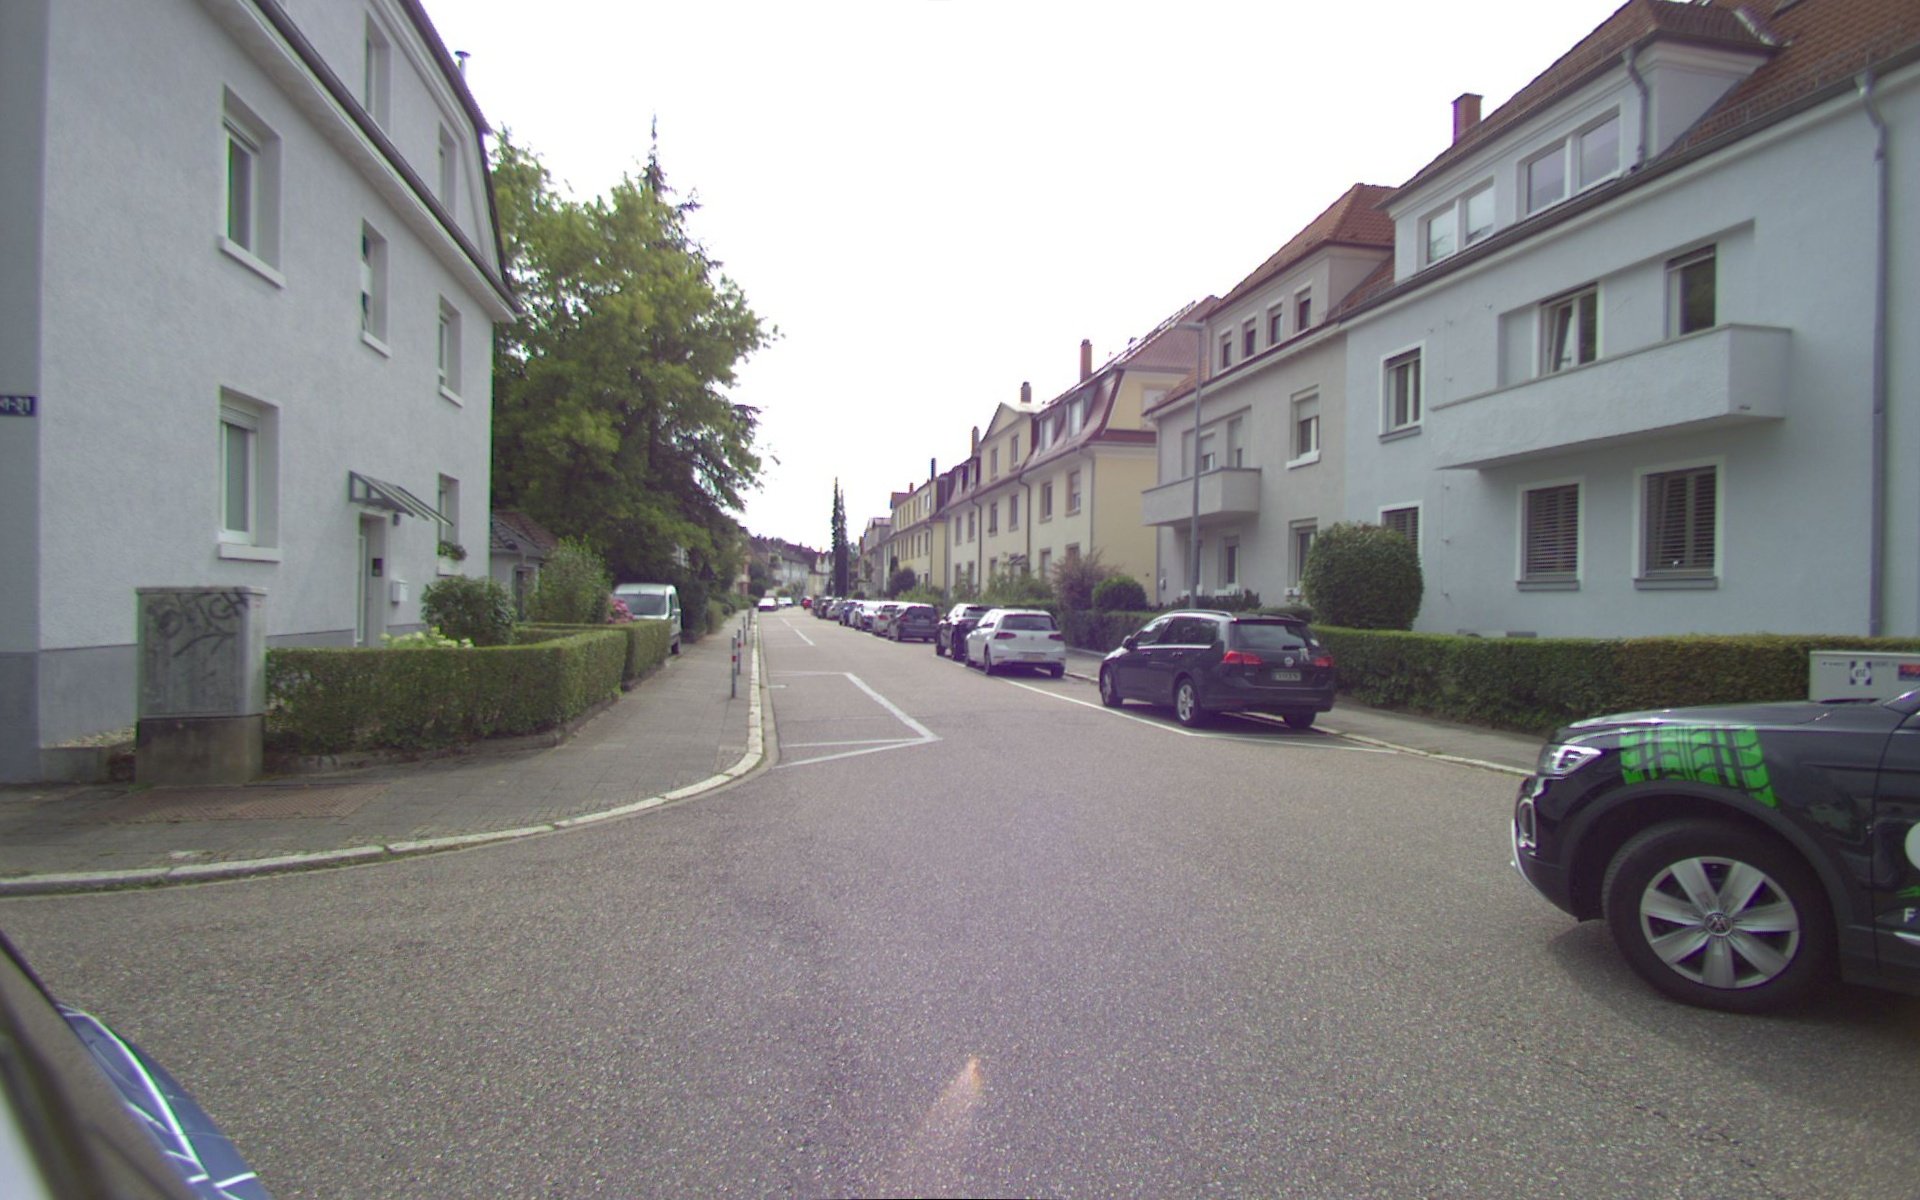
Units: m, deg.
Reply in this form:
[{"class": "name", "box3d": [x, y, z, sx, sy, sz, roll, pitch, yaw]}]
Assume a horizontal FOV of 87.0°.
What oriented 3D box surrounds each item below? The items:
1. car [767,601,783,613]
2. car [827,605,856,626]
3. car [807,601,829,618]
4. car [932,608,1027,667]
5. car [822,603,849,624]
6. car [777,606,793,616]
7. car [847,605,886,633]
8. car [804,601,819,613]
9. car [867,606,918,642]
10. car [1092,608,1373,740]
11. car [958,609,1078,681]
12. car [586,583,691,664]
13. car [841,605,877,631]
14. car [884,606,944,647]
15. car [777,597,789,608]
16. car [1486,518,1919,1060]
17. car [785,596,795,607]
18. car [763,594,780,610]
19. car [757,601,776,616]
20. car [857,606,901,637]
[{"class": "car", "box3d": [-26.661, 1.007, 145.980, 1.968, 1.652, 4.007, 1, 0, -8]}, {"class": "car", "box3d": [-8.653, 1.101, 73.814, 1.830, 1.482, 4.184, 1, 0, -10]}, {"class": "car", "box3d": [-13.711, 0.899, 97.703, 1.829, 1.590, 4.185, 1, 0, -11]}, {"class": "car", "box3d": [0.451, 0.981, 28.080, 1.830, 1.482, 4.184, 1, 0, -10]}, {"class": "car", "box3d": [-9.728, 1.061, 78.906, 1.830, 1.590, 4.184, 1, 0, -10]}, {"class": "car", "box3d": [-27.580, 1.709, 159.635, 1.971, 1.548, 4.002, -1, 0, -3]}, {"class": "car", "box3d": [-5.330, 1.057, 57.061, 1.830, 1.482, 4.184, 1, 0, -10]}, {"class": "car", "box3d": [-20.052, 0.890, 136.602, 1.830, 1.590, 4.184, 1, 0, -10]}, {"class": "car", "box3d": [-3.056, 1.027, 44.961, 1.830, 1.482, 4.184, 1, 0, -10]}, {"class": "car", "box3d": [3.445, 0.865, 13.723, 1.828, 1.482, 4.187, 1, 0, -14]}, {"class": "car", "box3d": [1.227, 0.971, 23.329, 1.830, 1.482, 4.184, 1, 0, -10]}, {"class": "car", "box3d": [-7.976, 0.561, 25.452, 1.968, 1.852, 4.008, 1, 0, -10]}, {"class": "car", "box3d": [-6.158, 1.068, 61.356, 1.830, 1.482, 4.184, 1, 0, -10]}, {"class": "car", "box3d": [-1.869, 1.011, 39.722, 1.830, 1.482, 4.184, 1, 0, -10]}, {"class": "car", "box3d": [-33.053, 0.466, 189.339, 1.968, 2.139, 4.007, 1, 0, -8]}, {"class": "car", "box3d": [3.906, 0.548, 2.724, 1.792, 1.531, 4.053, 1, 0, -35]}, {"class": "car", "box3d": [-33.788, 0.316, 201.255, 1.968, 2.139, 4.007, 1, 0, -8]}, {"class": "car", "box3d": [-23.984, 0.243, 128.700, 1.968, 2.029, 4.008, 1, 0, -9]}, {"class": "car", "box3d": [-22.312, 0.949, 116.874, 1.968, 1.652, 4.007, 1, 0, -8]}, {"class": "car", "box3d": [-4.090, 1.041, 50.571, 1.830, 1.482, 4.184, 1, 0, -10]}]
